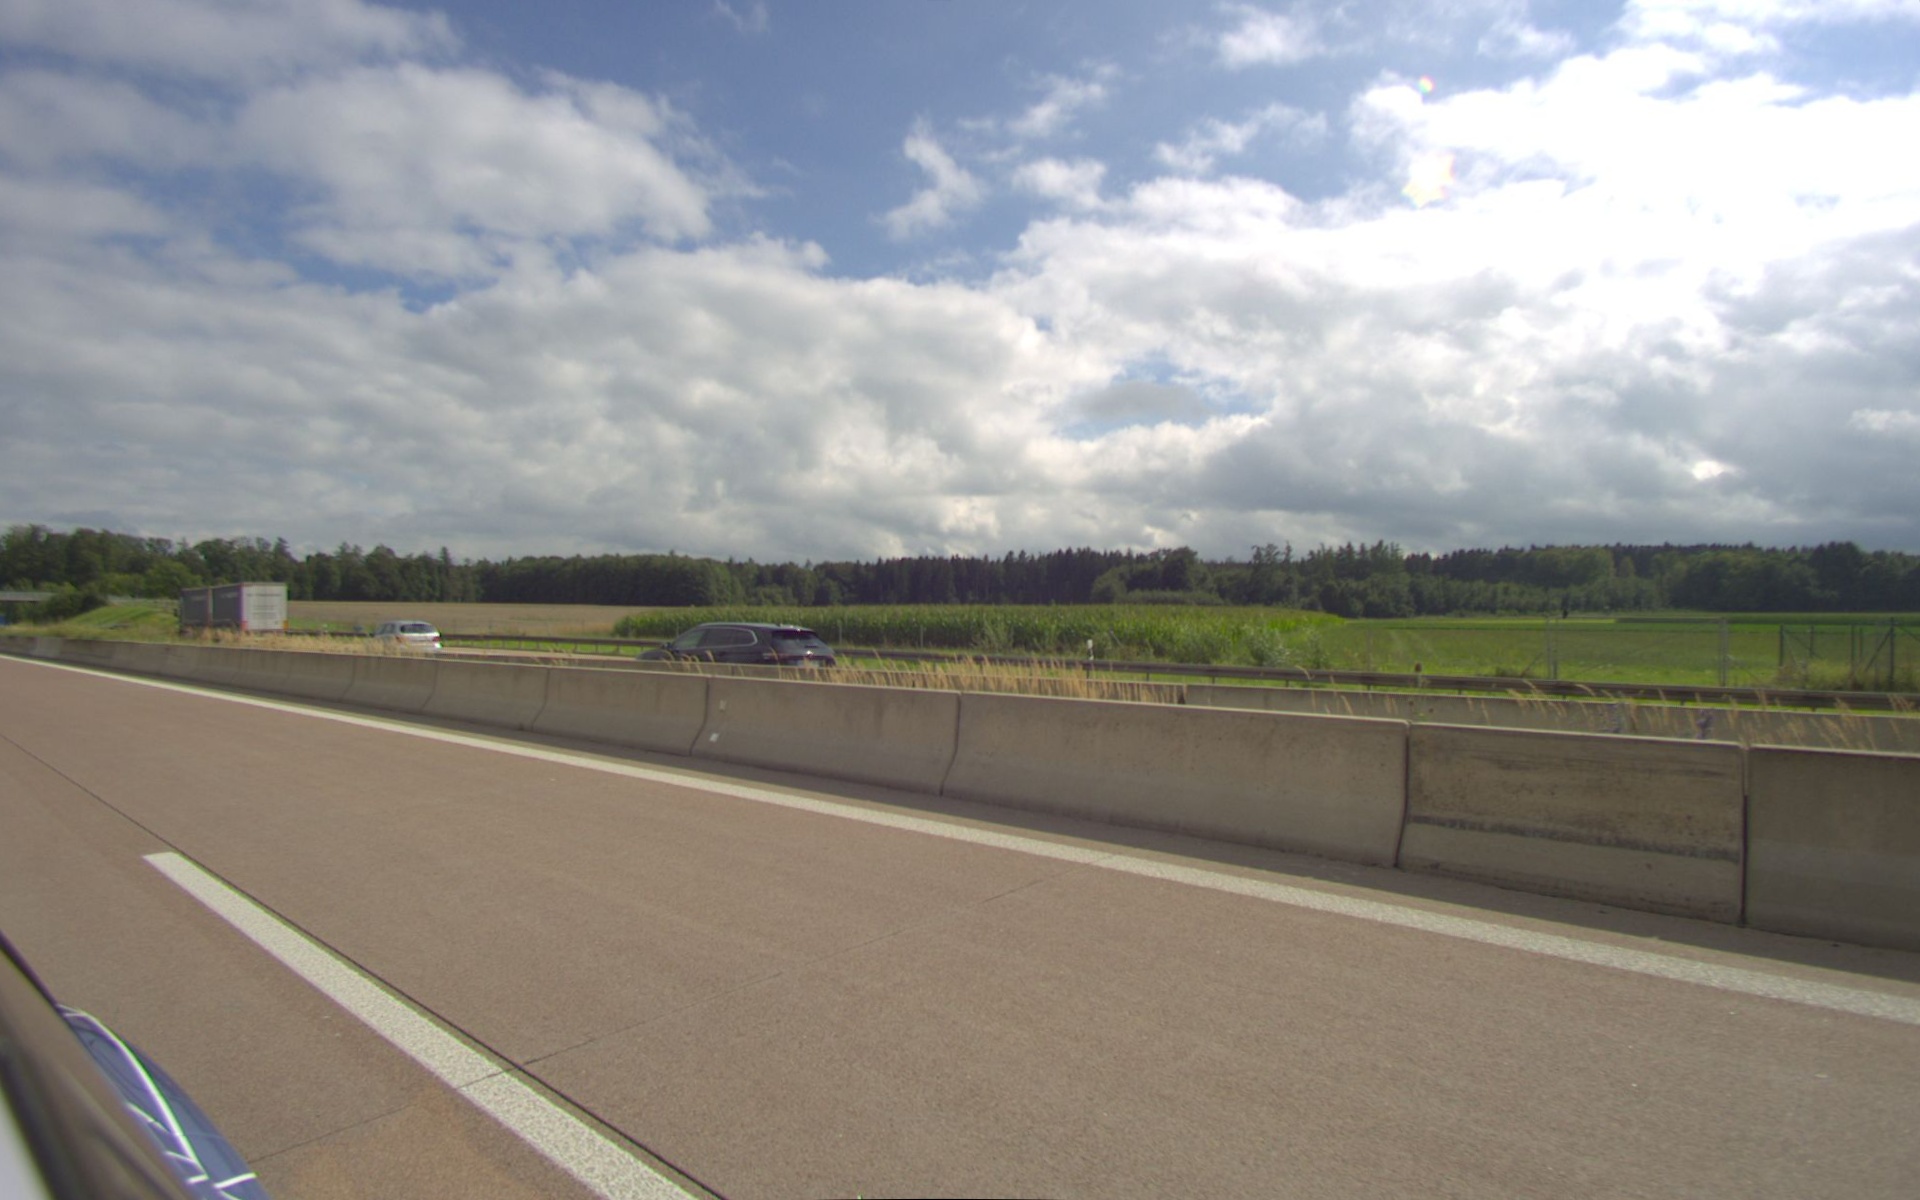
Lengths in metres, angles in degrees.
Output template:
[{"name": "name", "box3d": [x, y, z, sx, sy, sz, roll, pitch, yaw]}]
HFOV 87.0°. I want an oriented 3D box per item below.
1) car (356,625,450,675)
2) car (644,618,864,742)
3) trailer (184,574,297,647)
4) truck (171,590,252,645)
[{"name": "car", "box3d": [-22.144, 1.932, 40.210, 3.997, 1.875, 1.973, -1, -2, 40]}, {"name": "car", "box3d": [-3.850, 1.360, 18.659, 3.998, 2.029, 1.973, -1, -2, 41]}, {"name": "trailer", "box3d": [-50.033, 0.806, 70.106, 13.865, 4.611, 3.369, -1, -1, 42]}, {"name": "truck", "box3d": [-55.561, 1.285, 75.054, 7.462, 3.853, 3.374, -1, -1, 42]}]
